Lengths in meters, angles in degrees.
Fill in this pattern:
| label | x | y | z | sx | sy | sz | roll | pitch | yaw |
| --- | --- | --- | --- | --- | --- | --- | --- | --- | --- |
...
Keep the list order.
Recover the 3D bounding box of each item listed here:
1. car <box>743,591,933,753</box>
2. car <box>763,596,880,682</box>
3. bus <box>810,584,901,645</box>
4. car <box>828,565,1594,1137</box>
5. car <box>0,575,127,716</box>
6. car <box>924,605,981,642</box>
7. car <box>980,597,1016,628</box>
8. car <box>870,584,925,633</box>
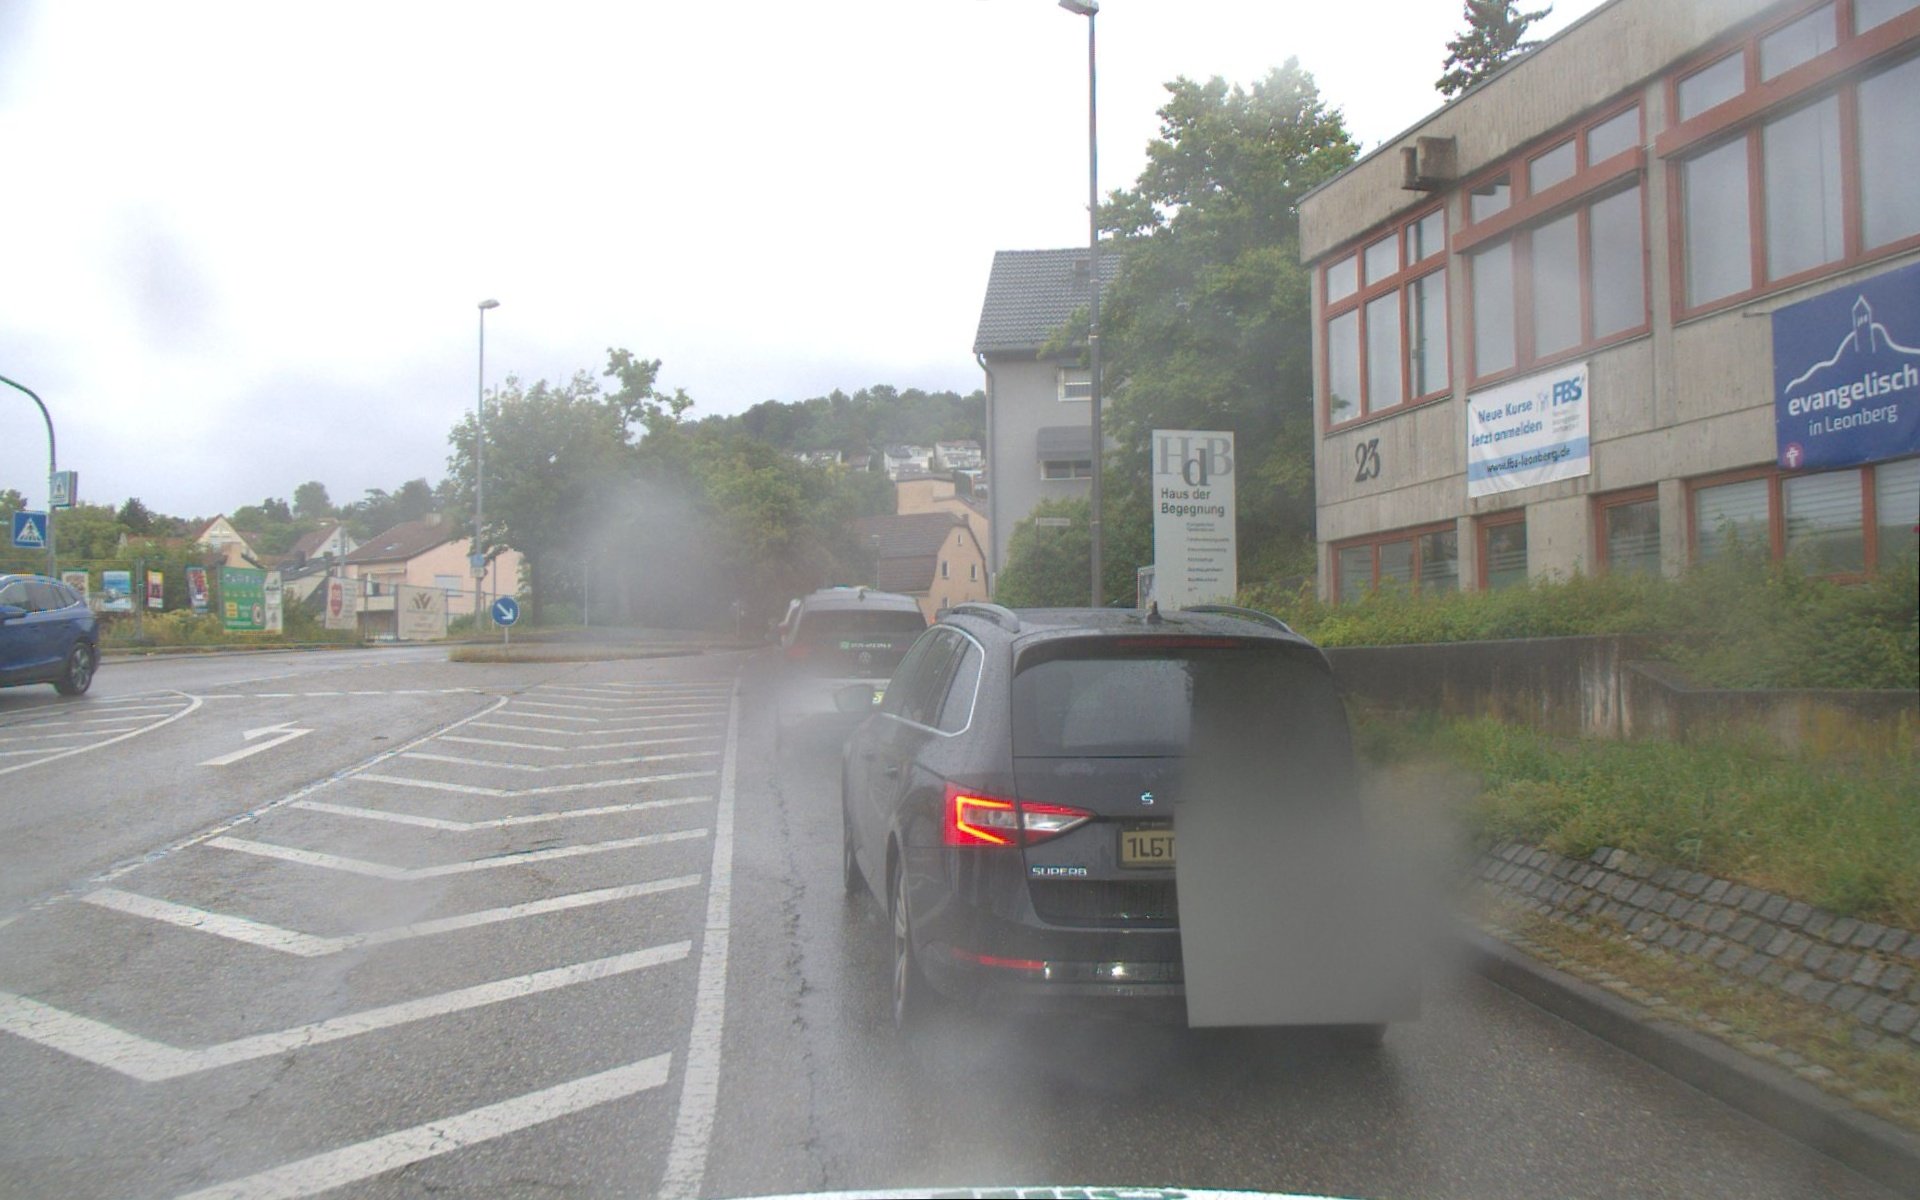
| label | x | y | z | sx | sy | sz | roll | pitch | yaw |
| --- | --- | --- | --- | --- | --- | --- | --- | --- | --- |
| car | -1.273 | 0.720 | 17.795 | 1.792 | 1.526 | 4.165 | 0 | -1 | -3 |
| car | -2.571 | 0.688 | 29.835 | 1.814 | 1.434 | 4.292 | 0 | -1 | -9 |
| bus | -4.780 | 0.615 | 77.110 | 2.345 | 2.723 | 7.053 | 0 | 0 | 13 |
| car | 0.548 | 0.744 | 6.863 | 1.917 | 1.534 | 4.600 | 2 | -1 | -7 |
| car | -12.788 | 0.566 | 21.264 | 1.954 | 1.723 | 4.702 | 1 | -1 | -3 |
| car | -0.288 | 1.000 | 70.973 | 1.951 | 1.478 | 3.773 | -3 | -1 | 6 |
| car | 2.621 | 0.895 | 113.964 | 1.955 | 2.049 | 3.994 | 1 | -1 | -6 |
| car | -2.020 | 0.271 | 54.355 | 1.535 | 1.557 | 4.001 | 0 | 0 | 2 |
